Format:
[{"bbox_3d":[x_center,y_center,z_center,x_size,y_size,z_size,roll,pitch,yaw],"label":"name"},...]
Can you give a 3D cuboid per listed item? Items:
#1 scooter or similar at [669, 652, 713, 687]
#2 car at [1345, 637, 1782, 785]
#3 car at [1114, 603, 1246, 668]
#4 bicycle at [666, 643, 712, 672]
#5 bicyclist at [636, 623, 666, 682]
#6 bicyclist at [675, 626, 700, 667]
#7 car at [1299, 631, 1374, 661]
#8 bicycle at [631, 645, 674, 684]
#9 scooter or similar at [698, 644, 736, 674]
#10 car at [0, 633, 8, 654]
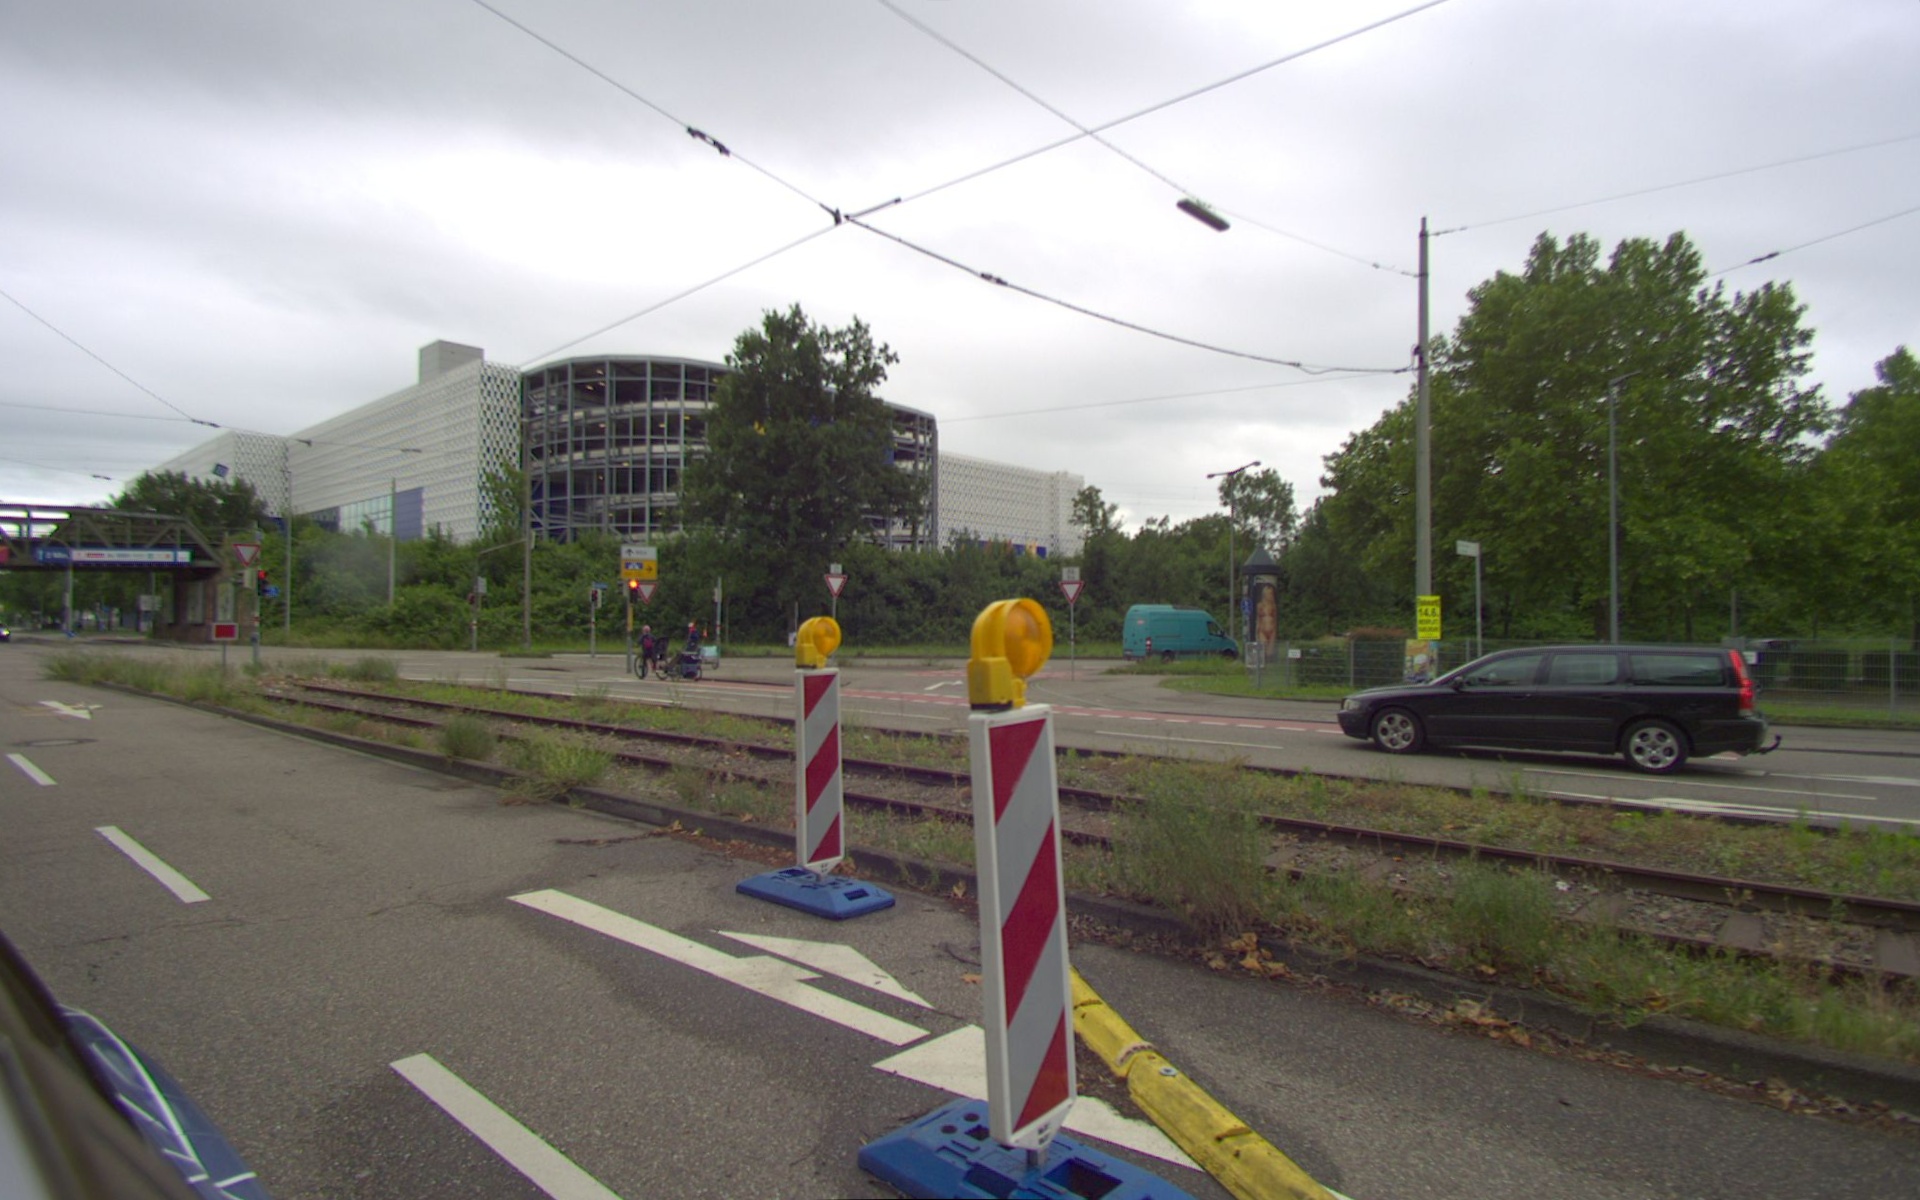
[{"bbox_3d":[-7.662,1.957,28.789,0.832,0.914,1.201,-1,-1,-34],"label":"scooter or similar"},{"bbox_3d":[7.310,1.219,12.557,4.421,1.484,1.802,-1,-2,38],"label":"car"},{"bbox_3d":[10.284,1.653,47.149,5.846,2.847,2.343,1,-2,-27],"label":"car"},{"bbox_3d":[-10.377,2.196,38.713,1.999,1.070,0.639,-2,-1,40],"label":"bicycle"},{"bbox_3d":[-9.174,1.539,30.061,0.637,1.696,0.687,-1,-1,-34],"label":"bicyclist"},{"bbox_3d":[-10.433,1.765,38.754,0.626,1.530,0.639,-2,-1,39],"label":"bicyclist"},{"bbox_3d":[19.810,2.389,53.285,3.606,1.539,1.780,1,-2,-30],"label":"car"},{"bbox_3d":[-9.122,1.890,29.983,0.636,1.070,2.029,-1,-1,-34],"label":"bicycle"},{"bbox_3d":[-9.041,2.182,37.611,1.448,1.070,0.639,-2,-1,39],"label":"scooter or similar"},{"bbox_3d":[-66.268,2.967,68.910,3.999,1.435,1.813,-2,-1,42],"label":"car"}]
